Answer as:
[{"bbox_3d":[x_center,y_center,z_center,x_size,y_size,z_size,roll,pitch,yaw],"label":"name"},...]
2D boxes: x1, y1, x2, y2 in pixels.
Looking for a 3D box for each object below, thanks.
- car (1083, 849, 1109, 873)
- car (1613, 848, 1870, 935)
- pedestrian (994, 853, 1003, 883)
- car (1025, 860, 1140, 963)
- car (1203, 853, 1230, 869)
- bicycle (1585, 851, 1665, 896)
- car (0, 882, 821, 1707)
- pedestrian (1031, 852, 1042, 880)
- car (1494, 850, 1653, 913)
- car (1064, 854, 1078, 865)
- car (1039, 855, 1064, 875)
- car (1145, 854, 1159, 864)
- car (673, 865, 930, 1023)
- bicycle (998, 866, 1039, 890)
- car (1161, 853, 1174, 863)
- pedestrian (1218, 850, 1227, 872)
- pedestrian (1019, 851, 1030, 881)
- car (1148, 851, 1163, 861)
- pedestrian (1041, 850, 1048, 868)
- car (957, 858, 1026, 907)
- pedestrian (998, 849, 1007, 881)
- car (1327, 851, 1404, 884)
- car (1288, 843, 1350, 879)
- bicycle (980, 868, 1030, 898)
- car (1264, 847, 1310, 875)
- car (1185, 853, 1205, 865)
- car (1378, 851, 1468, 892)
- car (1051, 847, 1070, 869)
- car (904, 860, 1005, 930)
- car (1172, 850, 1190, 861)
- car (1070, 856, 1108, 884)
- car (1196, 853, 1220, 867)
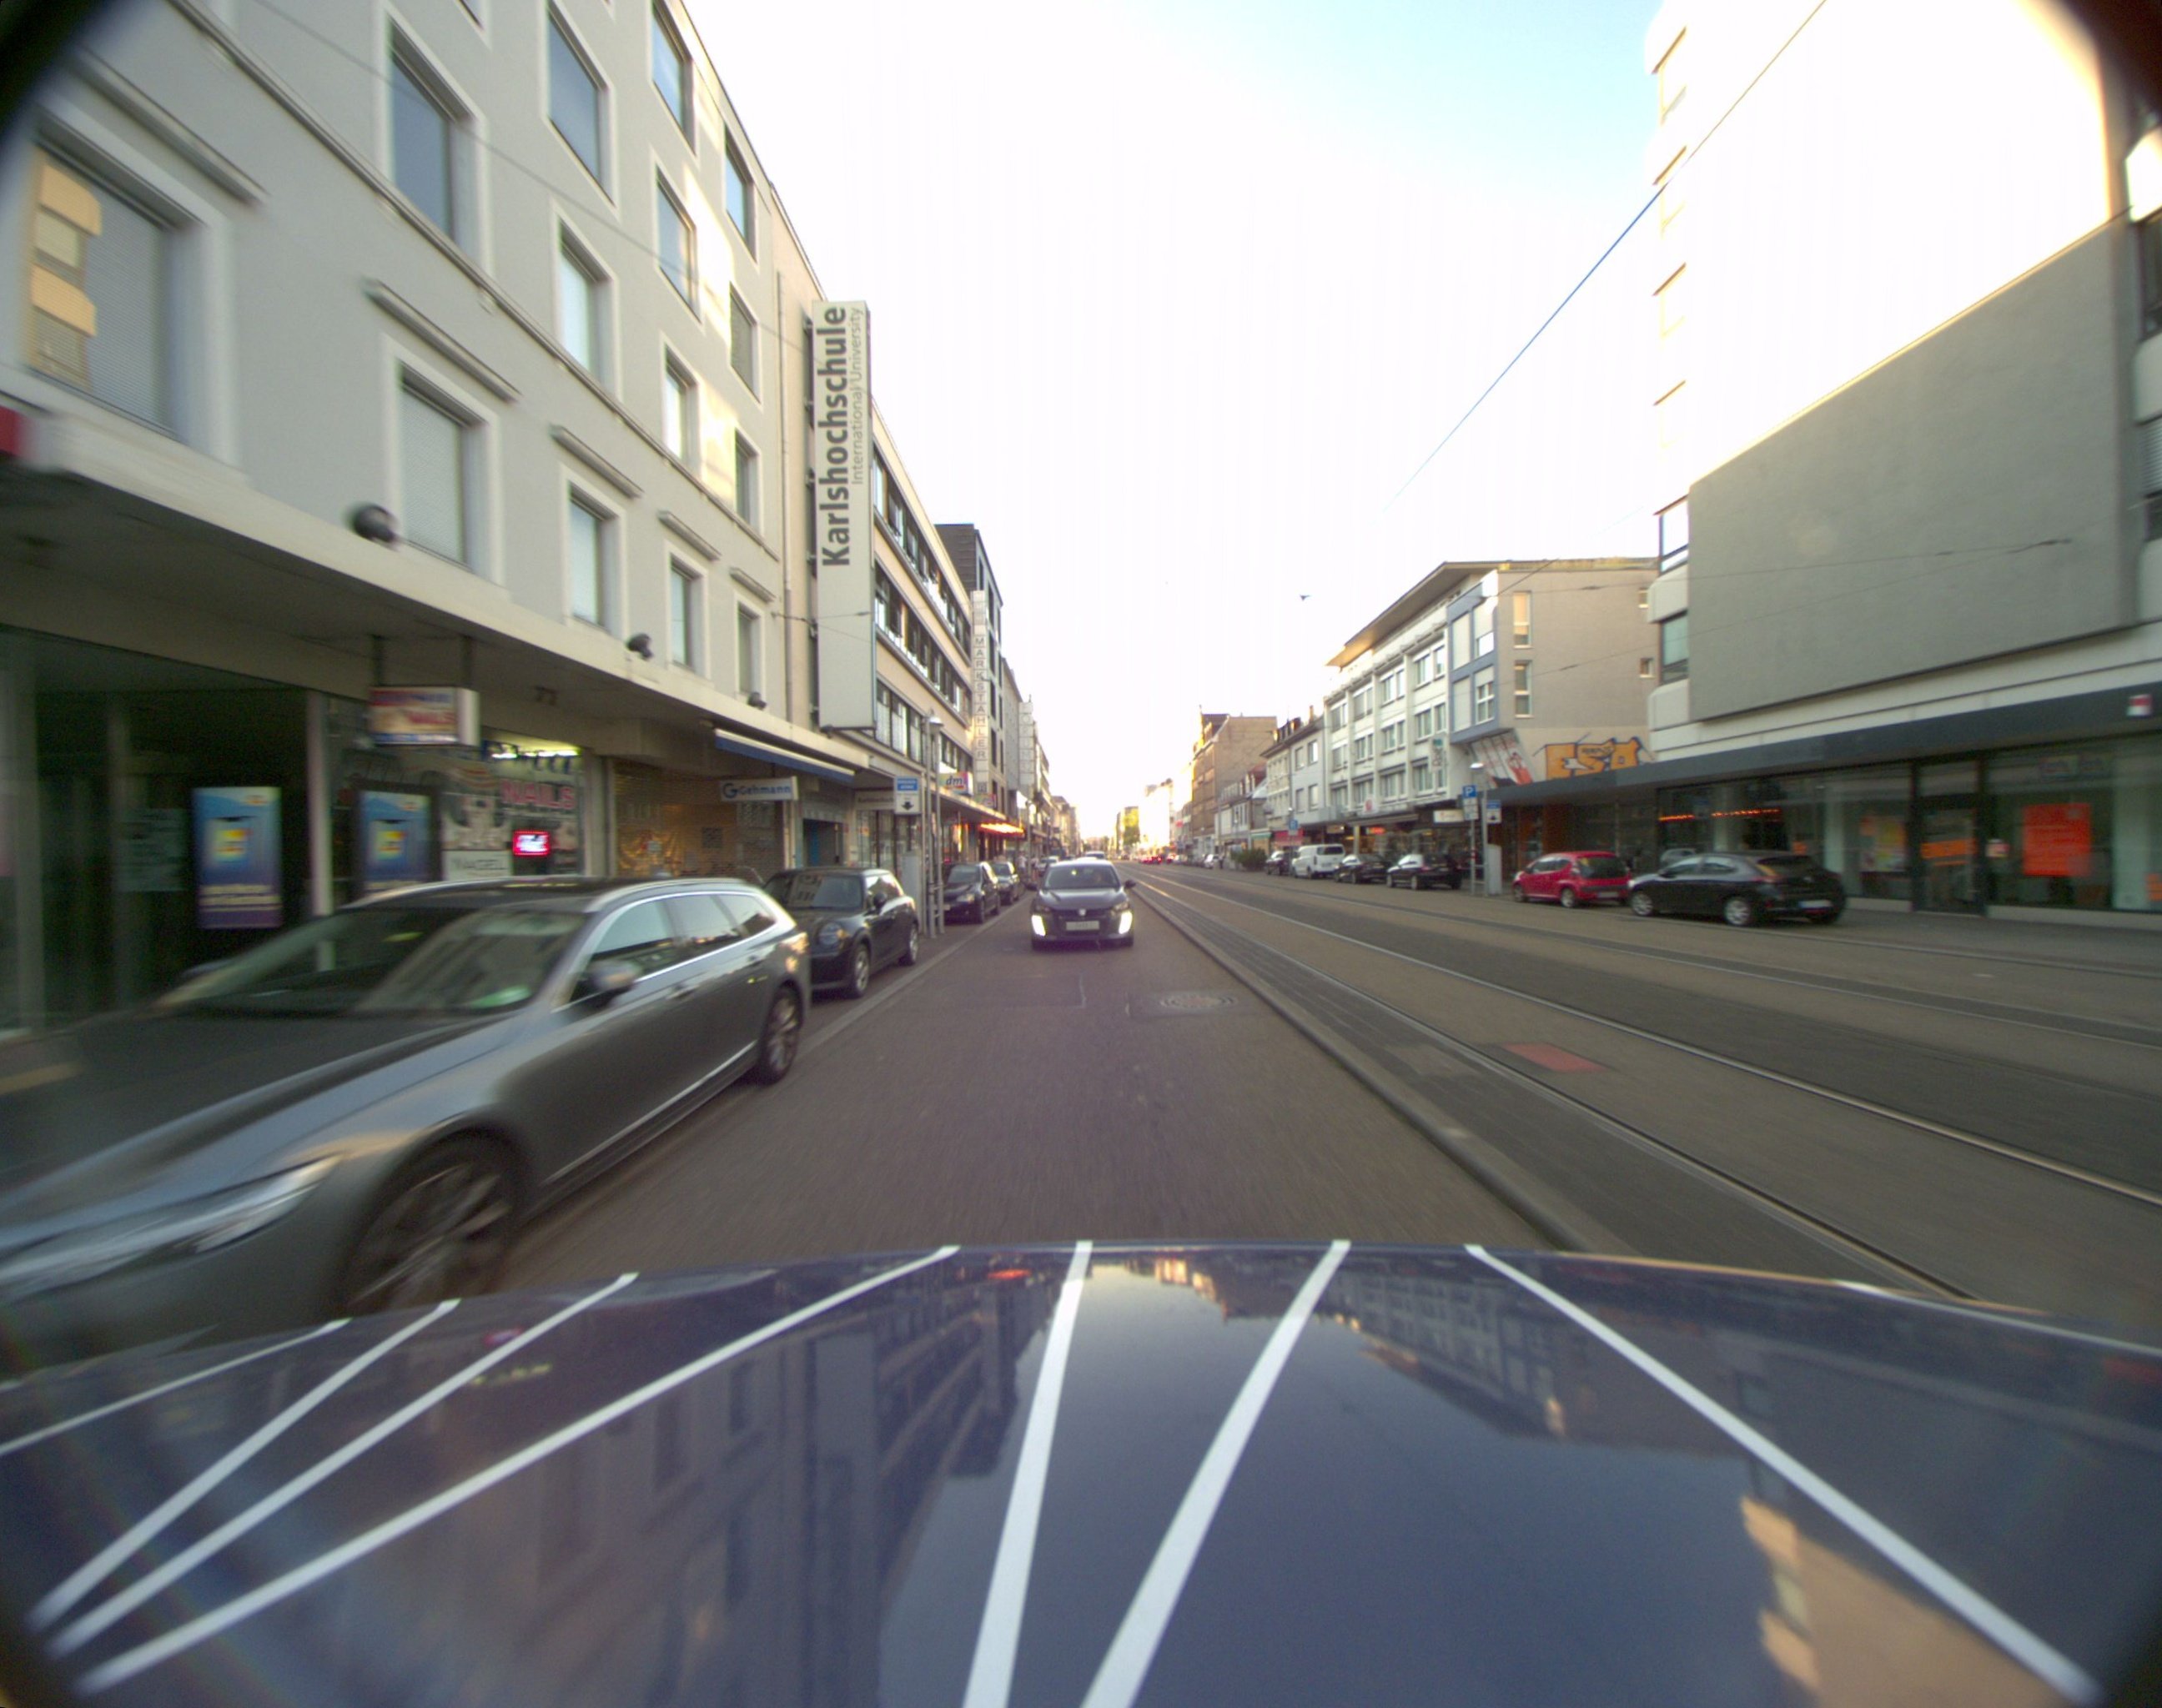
[{"bbox_3d":[1.180,0.515,61.022,1.999,1.805,3.999,-1,0,-1],"label":"car"},{"bbox_3d":[13.337,0.676,15.759,1.690,1.503,4.215,-2,0,1],"label":"car"},{"bbox_3d":[-5.134,0.873,47.233,0.452,1.888,0.421,-1,1,1],"label":"pedestrian"},{"bbox_3d":[0.015,0.912,13.998,1.732,1.513,4.333,-2,0,0],"label":"car"},{"bbox_3d":[14.130,0.680,79.301,1.998,1.535,4.878,-2,0,1],"label":"car"},{"bbox_3d":[17.453,0.617,24.415,1.973,1.417,0.834,-1,1,-1],"label":"bicycle"},{"bbox_3d":[-2.950,0.981,3.662,1.794,1.503,4.711,0,0,0],"label":"car"},{"bbox_3d":[-2.704,0.734,46.097,0.605,1.717,0.646,-1,1,1],"label":"pedestrian"},{"bbox_3d":[13.402,0.689,21.034,1.690,1.503,4.215,-3,0,1],"label":"car"},{"bbox_3d":[-1.523,0.820,116.365,1.999,1.627,5.243,-1,0,0],"label":"car"},{"bbox_3d":[-2.289,0.822,59.082,1.682,1.534,3.886,0,0,2],"label":"car"},{"bbox_3d":[11.748,0.831,126.573,1.998,1.543,4.000,-1,0,1],"label":"car"},{"bbox_3d":[-3.194,0.925,9.609,1.690,1.503,4.035,0,0,1],"label":"car"},{"bbox_3d":[-2.906,1.108,35.458,1.890,1.070,0.676,1,0,-2],"label":"bicycle"},{"bbox_3d":[15.150,0.689,133.324,1.998,1.543,4.000,-1,0,1],"label":"car"},{"bbox_3d":[13.477,0.656,72.354,0.823,2.002,0.713,-1,1,16],"label":"pedestrian"},{"bbox_3d":[-3.416,0.718,45.867,0.610,1.743,0.605,-1,1,1],"label":"pedestrian"},{"bbox_3d":[11.428,0.292,116.543,1.998,1.543,4.000,1,0,1],"label":"car"},{"bbox_3d":[-3.414,0.480,71.660,0.610,1.743,0.605,-1,1,1],"label":"pedestrian"},{"bbox_3d":[-2.961,0.896,25.990,1.748,1.503,4.258,0,0,1],"label":"car"},{"bbox_3d":[-4.734,0.641,45.676,0.456,1.888,0.421,-1,1,1],"label":"pedestrian"},{"bbox_3d":[13.711,0.625,36.985,1.998,1.457,4.558,-2,0,0],"label":"car"},{"bbox_3d":[13.846,0.388,44.541,1.960,1.965,5.162,-1,0,0],"label":"car"},{"bbox_3d":[-2.949,1.112,29.710,1.890,1.131,0.676,-1,0,-2],"label":"bicycle"},{"bbox_3d":[13.973,0.429,51.793,1.863,1.711,4.527,-4,0,0],"label":"car"},{"bbox_3d":[14.933,0.608,99.865,1.998,1.543,4.000,-1,0,1],"label":"car"},{"bbox_3d":[13.639,0.642,30.564,1.690,1.503,4.446,-1,0,1],"label":"car"},{"bbox_3d":[-2.288,0.443,86.905,2.046,2.371,5.584,-1,0,0],"label":"car"},{"bbox_3d":[-3.027,0.937,19.015,1.724,1.503,4.167,0,0,1],"label":"car"},{"bbox_3d":[14.617,0.236,111.129,1.998,1.543,4.206,-1,0,1],"label":"car"},{"bbox_3d":[0.434,0.848,42.110,1.998,1.450,4.000,-1,0,0],"label":"car"},{"bbox_3d":[14.146,0.646,84.771,1.914,1.535,4.552,-1,0,1],"label":"car"}]
